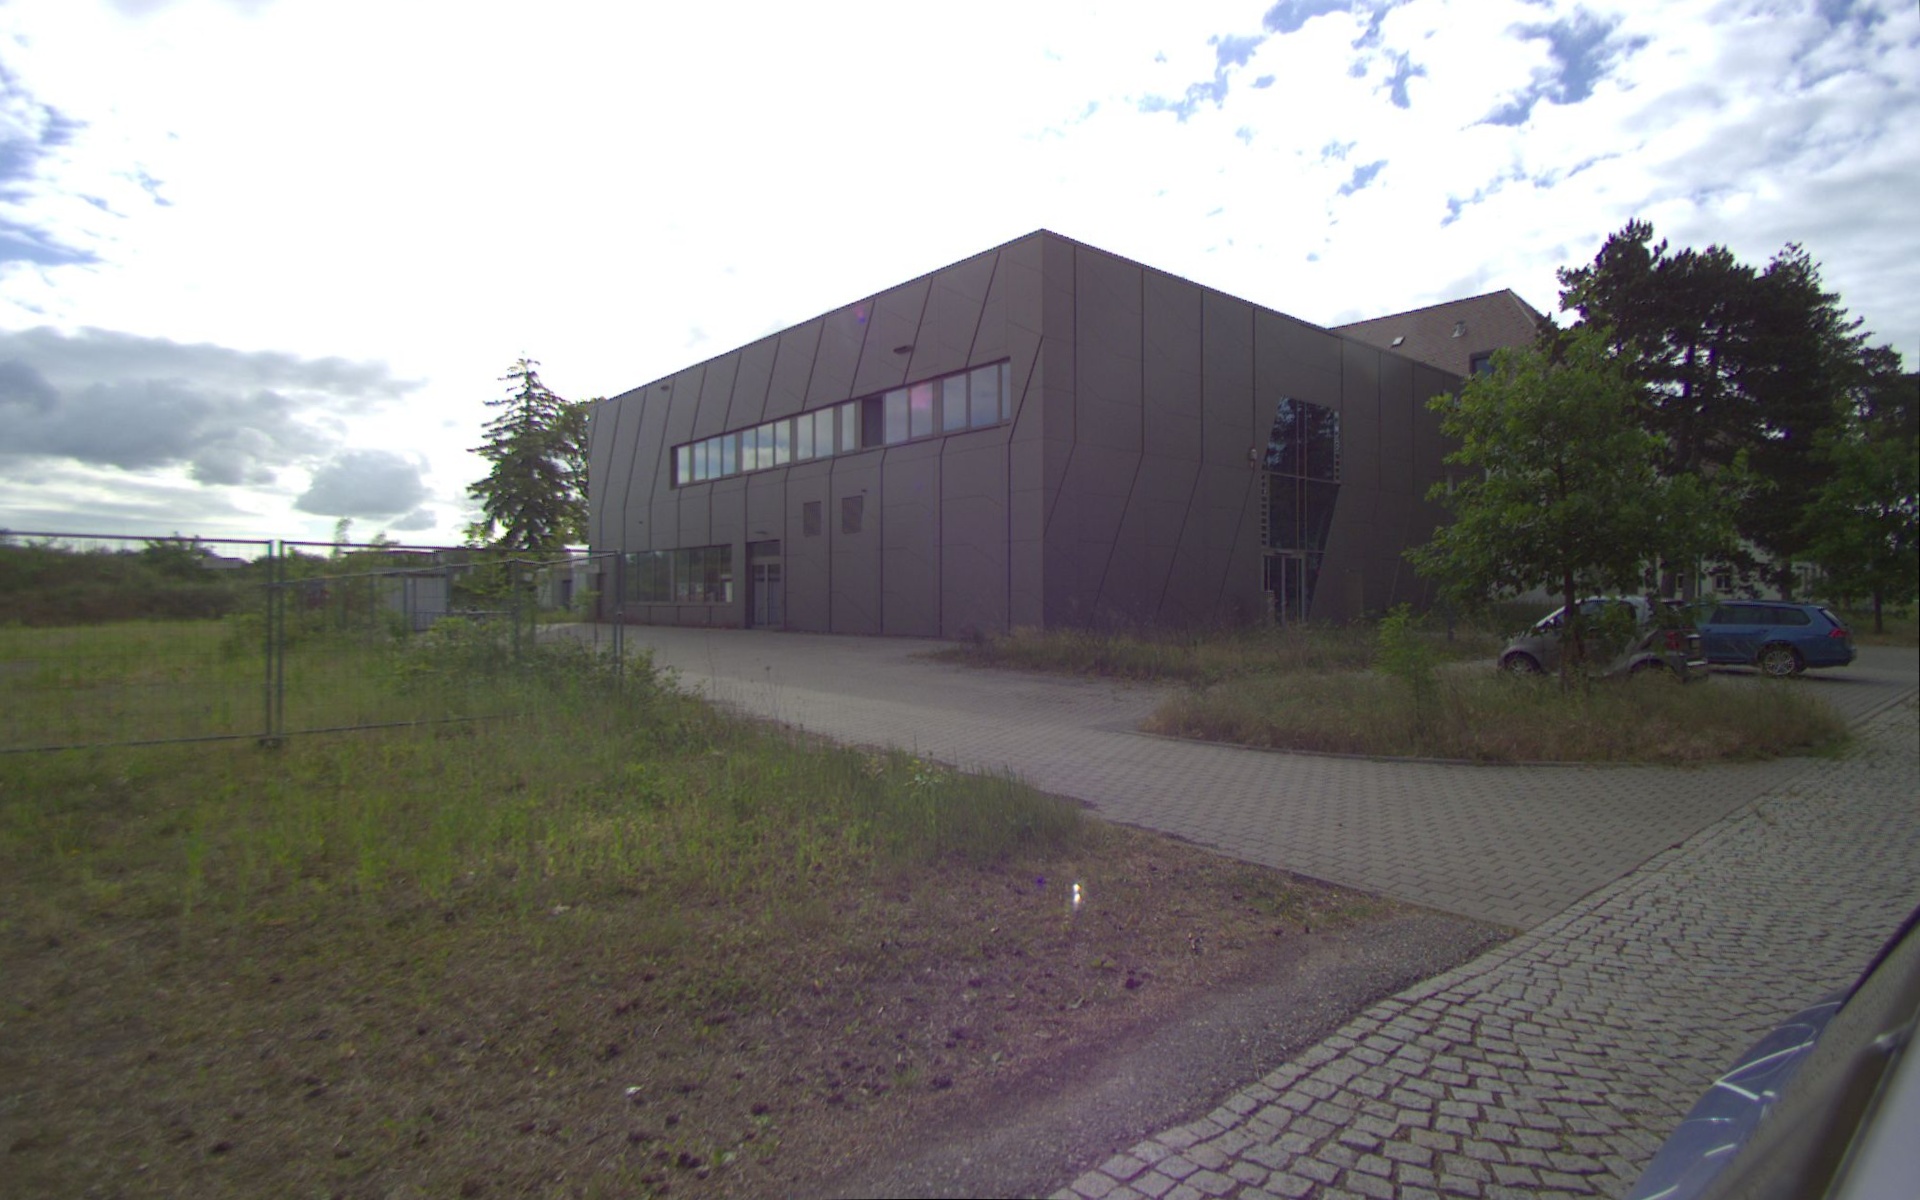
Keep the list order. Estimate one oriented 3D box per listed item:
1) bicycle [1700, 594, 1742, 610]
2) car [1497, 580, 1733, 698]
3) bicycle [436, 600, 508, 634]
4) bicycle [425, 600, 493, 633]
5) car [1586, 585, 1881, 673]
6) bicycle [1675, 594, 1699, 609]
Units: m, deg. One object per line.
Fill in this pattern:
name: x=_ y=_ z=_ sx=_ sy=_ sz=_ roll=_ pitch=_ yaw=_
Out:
bicycle: x=50.882 y=0.117 z=67.701 sx=0.705 sy=1.070 sz=2.160 roll=0 pitch=0 yaw=-44
car: x=10.272 y=0.531 z=15.973 sx=1.653 sy=1.601 sz=2.747 roll=0 pitch=2 yaw=-41
bicycle: x=-15.897 y=0.546 z=32.995 sx=1.953 sy=1.038 sz=0.835 roll=-1 pitch=1 yaw=-39
bicycle: x=-17.156 y=0.553 z=34.703 sx=1.953 sy=1.038 sz=0.835 roll=-1 pitch=1 yaw=-39
car: x=15.689 y=0.499 z=20.722 sx=1.899 sy=1.468 sz=4.531 roll=0 pitch=2 yaw=-42
bicycle: x=50.309 y=0.102 z=70.050 sx=2.159 sy=1.070 sz=0.800 roll=-1 pitch=0 yaw=-38
